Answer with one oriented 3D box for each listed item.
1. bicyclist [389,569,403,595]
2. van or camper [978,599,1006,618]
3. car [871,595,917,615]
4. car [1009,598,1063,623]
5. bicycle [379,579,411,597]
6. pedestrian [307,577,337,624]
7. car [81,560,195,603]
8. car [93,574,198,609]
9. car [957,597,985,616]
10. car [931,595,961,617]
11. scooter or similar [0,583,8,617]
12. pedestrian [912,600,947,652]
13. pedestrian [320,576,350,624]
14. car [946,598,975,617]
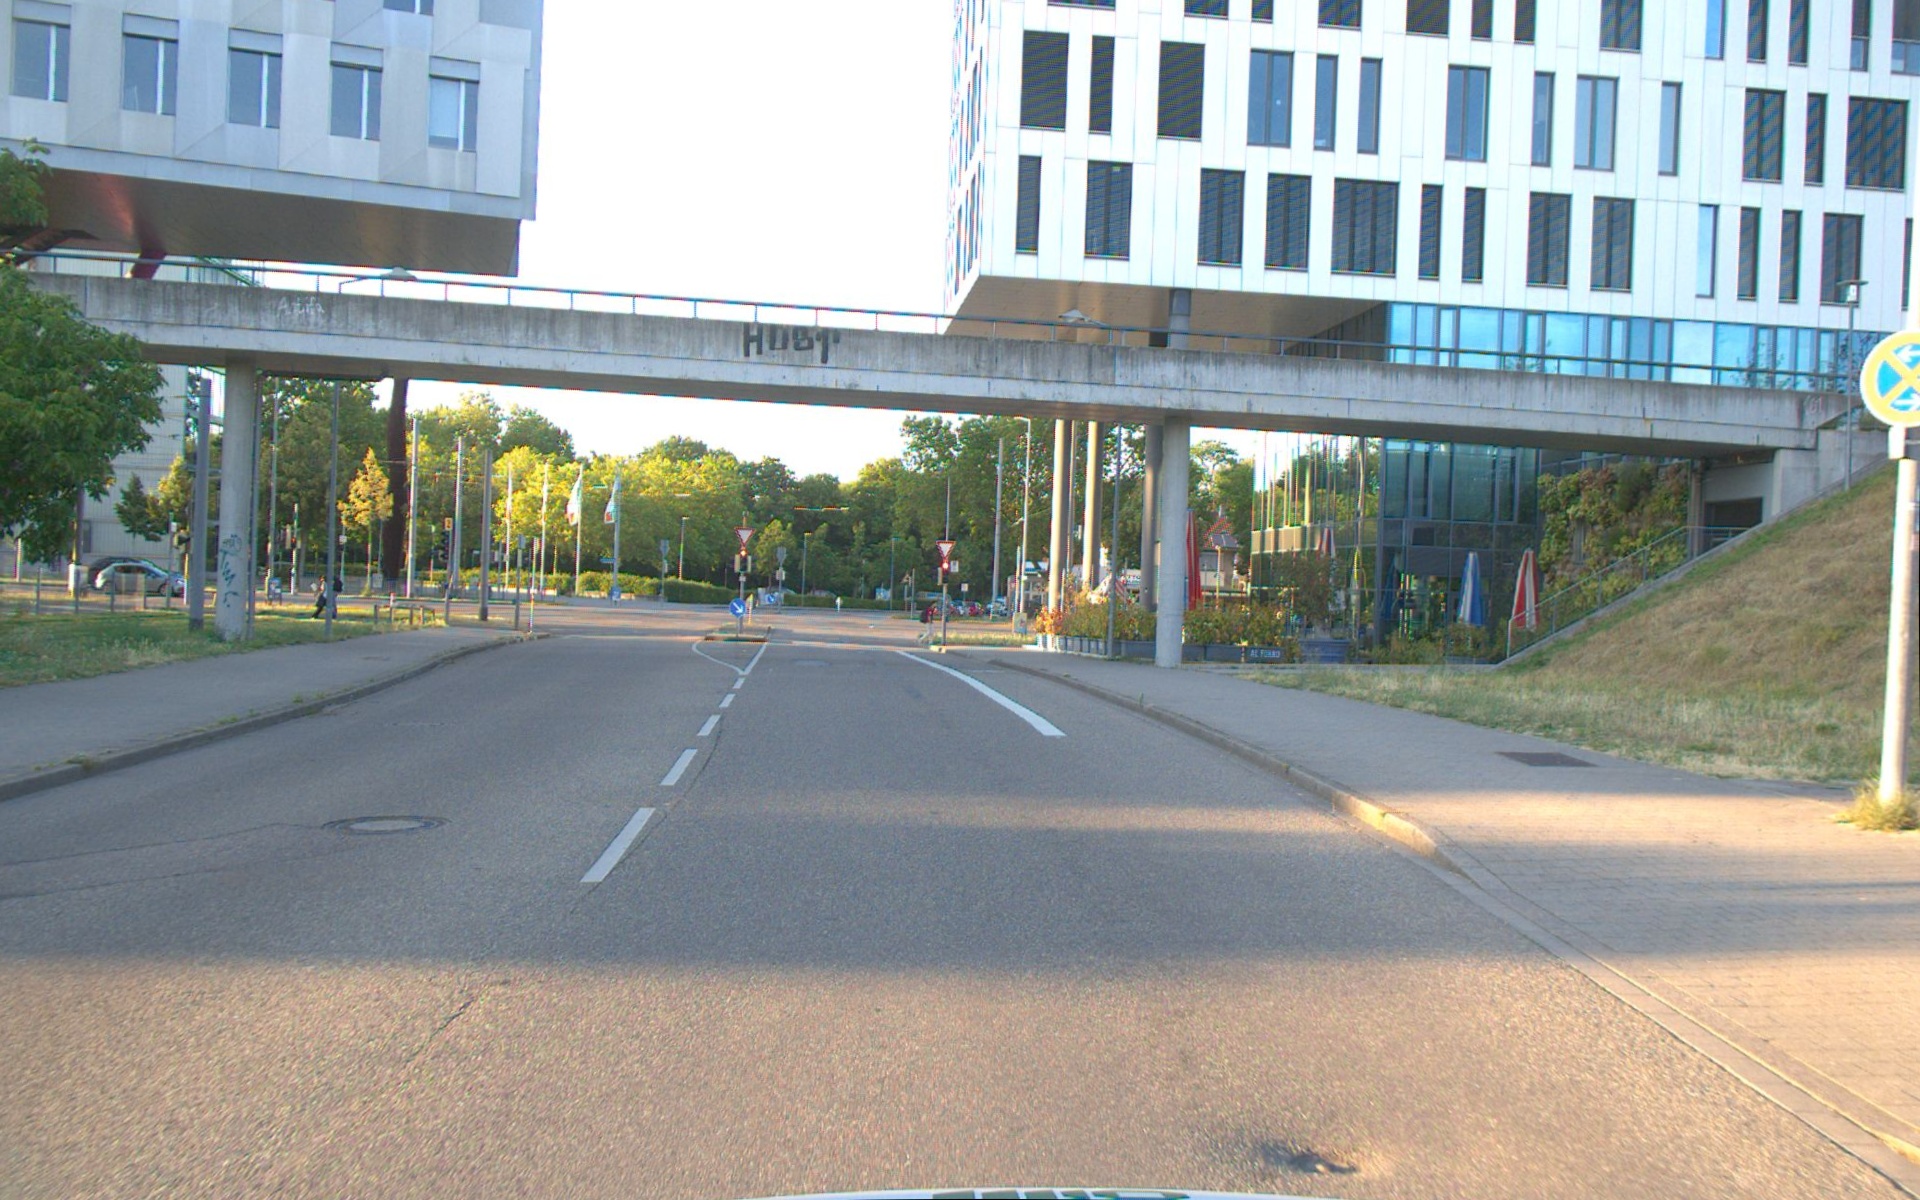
[{"bbox_3d":[-37.668,-1.201,110.531,0.749,1.753,0.547,2,1,-30],"label":"bicyclist"},{"bbox_3d":[3.501,0.921,180.819,1.592,2.016,3.804,3,1,25],"label":"van or camper"},{"bbox_3d":[-6.847,0.521,171.376,4.588,1.901,2.013,2,1,1],"label":"car"},{"bbox_3d":[6.356,0.902,138.697,4.375,1.848,1.945,2,1,0],"label":"car"},{"bbox_3d":[-37.760,-0.798,110.493,1.942,1.148,0.555,2,1,-31],"label":"bicycle"},{"bbox_3d":[-22.750,0.011,59.000,0.671,1.652,0.712,2,1,12],"label":"pedestrian"},{"bbox_3d":[-39.048,-0.878,78.657,4.382,1.848,1.943,2,1,-7],"label":"car"},{"bbox_3d":[-37.294,-0.399,75.759,3.947,1.444,1.600,2,1,-8],"label":"car"},{"bbox_3d":[1.038,0.622,152.373,1.466,1.634,3.403,3,1,21],"label":"car"},{"bbox_3d":[-1.218,0.527,145.030,1.466,1.791,3.403,3,1,21],"label":"car"},{"bbox_3d":[-35.947,-0.019,61.108,1.191,1.221,0.502,2,1,-9],"label":"scooter or similar"},{"bbox_3d":[-1.143,0.949,61.503,1.037,1.865,0.891,2,1,-18],"label":"pedestrian"},{"bbox_3d":[-22.579,-0.012,59.759,0.685,1.693,0.712,2,1,12],"label":"pedestrian"},{"bbox_3d":[0.050,0.672,148.944,1.466,1.634,3.403,3,1,21],"label":"car"}]
